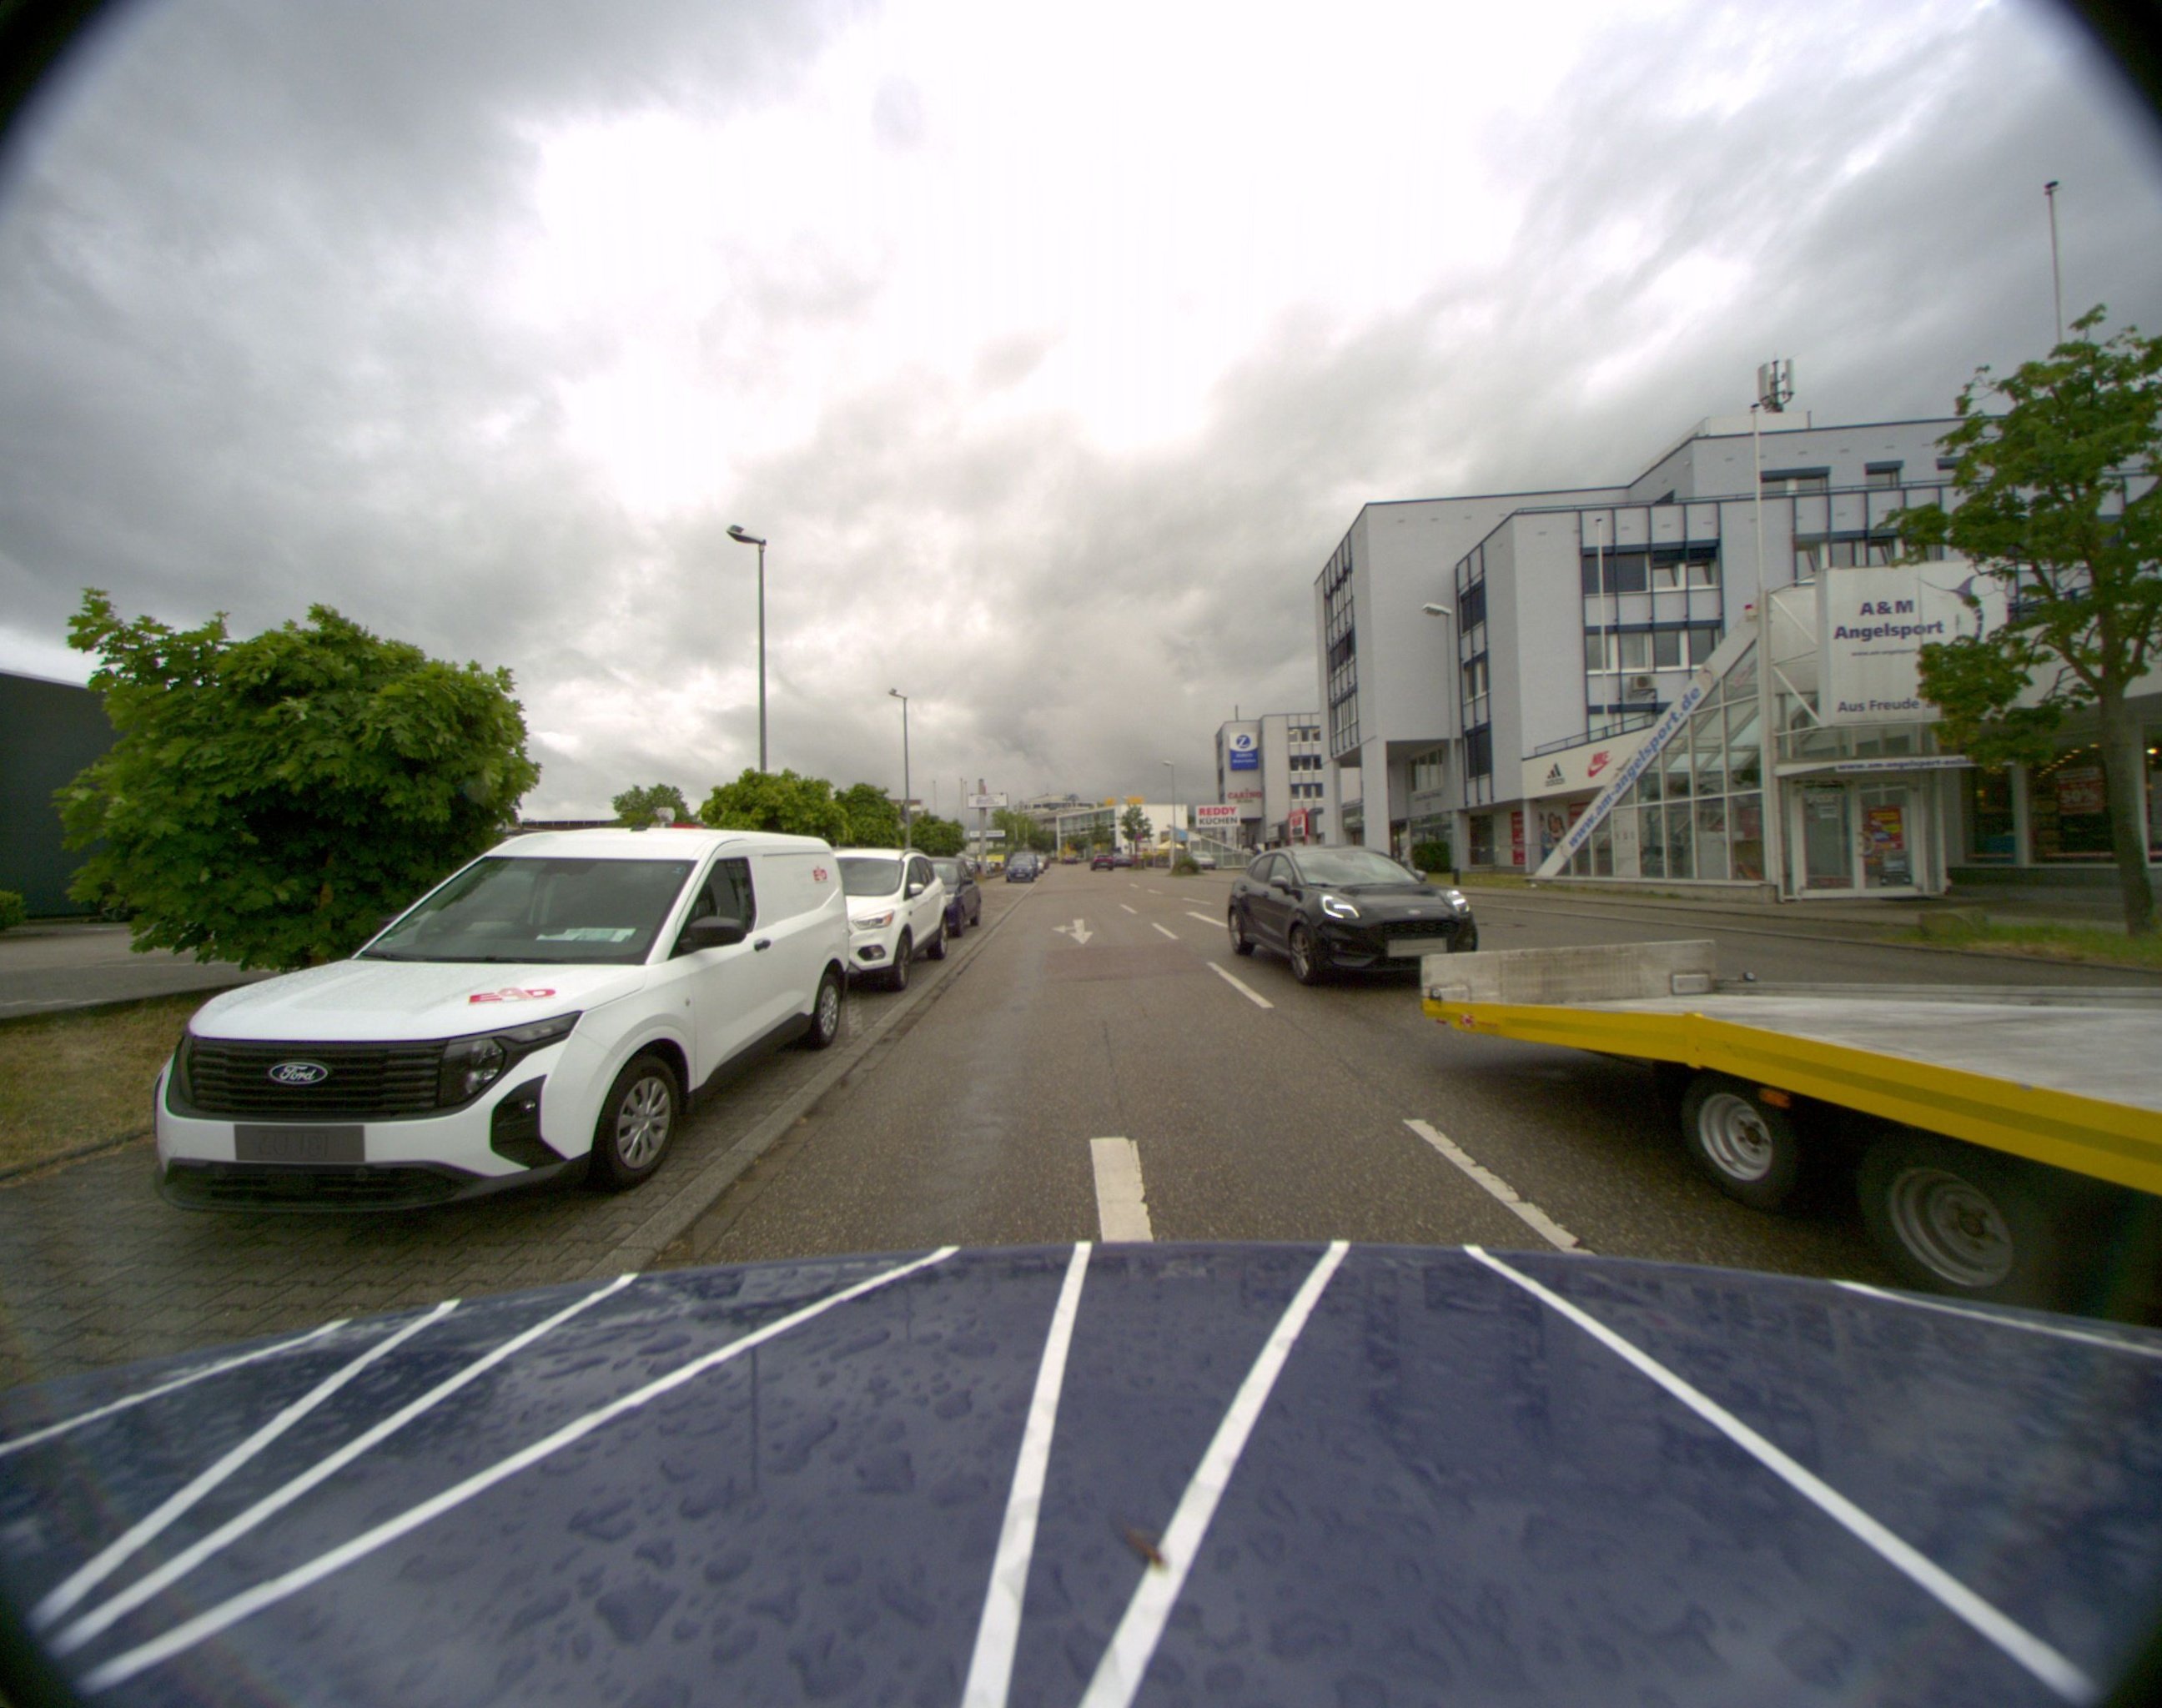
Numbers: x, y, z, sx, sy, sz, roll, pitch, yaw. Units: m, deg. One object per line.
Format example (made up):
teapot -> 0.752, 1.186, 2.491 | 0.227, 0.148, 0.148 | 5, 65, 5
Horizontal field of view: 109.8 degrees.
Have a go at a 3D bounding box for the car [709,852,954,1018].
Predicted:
car -> -2.988, 0.859, 10.074 | 1.822, 1.698, 4.000 | -2, 1, 1

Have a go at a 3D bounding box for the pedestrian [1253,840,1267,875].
pedestrian -> 9.049, 0.172, 38.491 | 0.550, 1.698, 0.519 | -2, 1, 2

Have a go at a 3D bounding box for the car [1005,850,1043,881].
car -> -3.350, 0.645, 45.255 | 1.822, 1.698, 4.000 | -2, 1, 1

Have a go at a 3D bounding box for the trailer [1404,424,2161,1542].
trailer -> 3.530, 0.276, 1.427 | 2.309, 2.460, 7.968 | -1, 1, -1

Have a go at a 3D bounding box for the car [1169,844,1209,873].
car -> 6.581, 0.290, 46.593 | 1.822, 1.601, 4.000 | -3, -1, 1

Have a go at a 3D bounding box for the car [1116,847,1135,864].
car -> 4.703, 0.159, 80.258 | 1.801, 1.663, 3.668 | -2, 1, 1

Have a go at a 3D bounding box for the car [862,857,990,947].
car -> -3.137, 0.906, 16.251 | 1.822, 1.589, 4.000 | -2, 1, 1

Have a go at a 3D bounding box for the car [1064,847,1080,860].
car -> -1.305, -0.036, 110.743 | 1.765, 1.755, 3.682 | -2, 1, -9

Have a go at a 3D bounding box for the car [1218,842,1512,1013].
car -> 3.094, 0.689, 9.267 | 1.814, 1.531, 3.998 | -3, 0, -4

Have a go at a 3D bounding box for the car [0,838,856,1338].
car -> -2.972, 0.815, 4.821 | 1.797, 1.773, 4.248 | 0, 1, 0

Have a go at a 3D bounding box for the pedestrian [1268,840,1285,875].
pedestrian -> 10.070, 0.179, 39.223 | 0.644, 1.733, 0.589 | -1, 1, 33

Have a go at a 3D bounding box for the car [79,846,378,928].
car -> -20.377, 0.737, 18.362 | 4.741, 1.730, 1.891 | -2, 1, -4

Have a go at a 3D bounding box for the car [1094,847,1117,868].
car -> 2.126, 0.308, 67.654 | 1.901, 1.755, 3.999 | -2, 1, 1

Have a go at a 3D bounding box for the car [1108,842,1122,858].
car -> 4.194, -0.503, 94.917 | 1.567, 1.807, 3.906 | -2, 1, 1

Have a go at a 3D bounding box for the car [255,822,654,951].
car -> -9.541, 0.446, 11.939 | 4.501, 1.730, 1.892 | -2, 1, -4
